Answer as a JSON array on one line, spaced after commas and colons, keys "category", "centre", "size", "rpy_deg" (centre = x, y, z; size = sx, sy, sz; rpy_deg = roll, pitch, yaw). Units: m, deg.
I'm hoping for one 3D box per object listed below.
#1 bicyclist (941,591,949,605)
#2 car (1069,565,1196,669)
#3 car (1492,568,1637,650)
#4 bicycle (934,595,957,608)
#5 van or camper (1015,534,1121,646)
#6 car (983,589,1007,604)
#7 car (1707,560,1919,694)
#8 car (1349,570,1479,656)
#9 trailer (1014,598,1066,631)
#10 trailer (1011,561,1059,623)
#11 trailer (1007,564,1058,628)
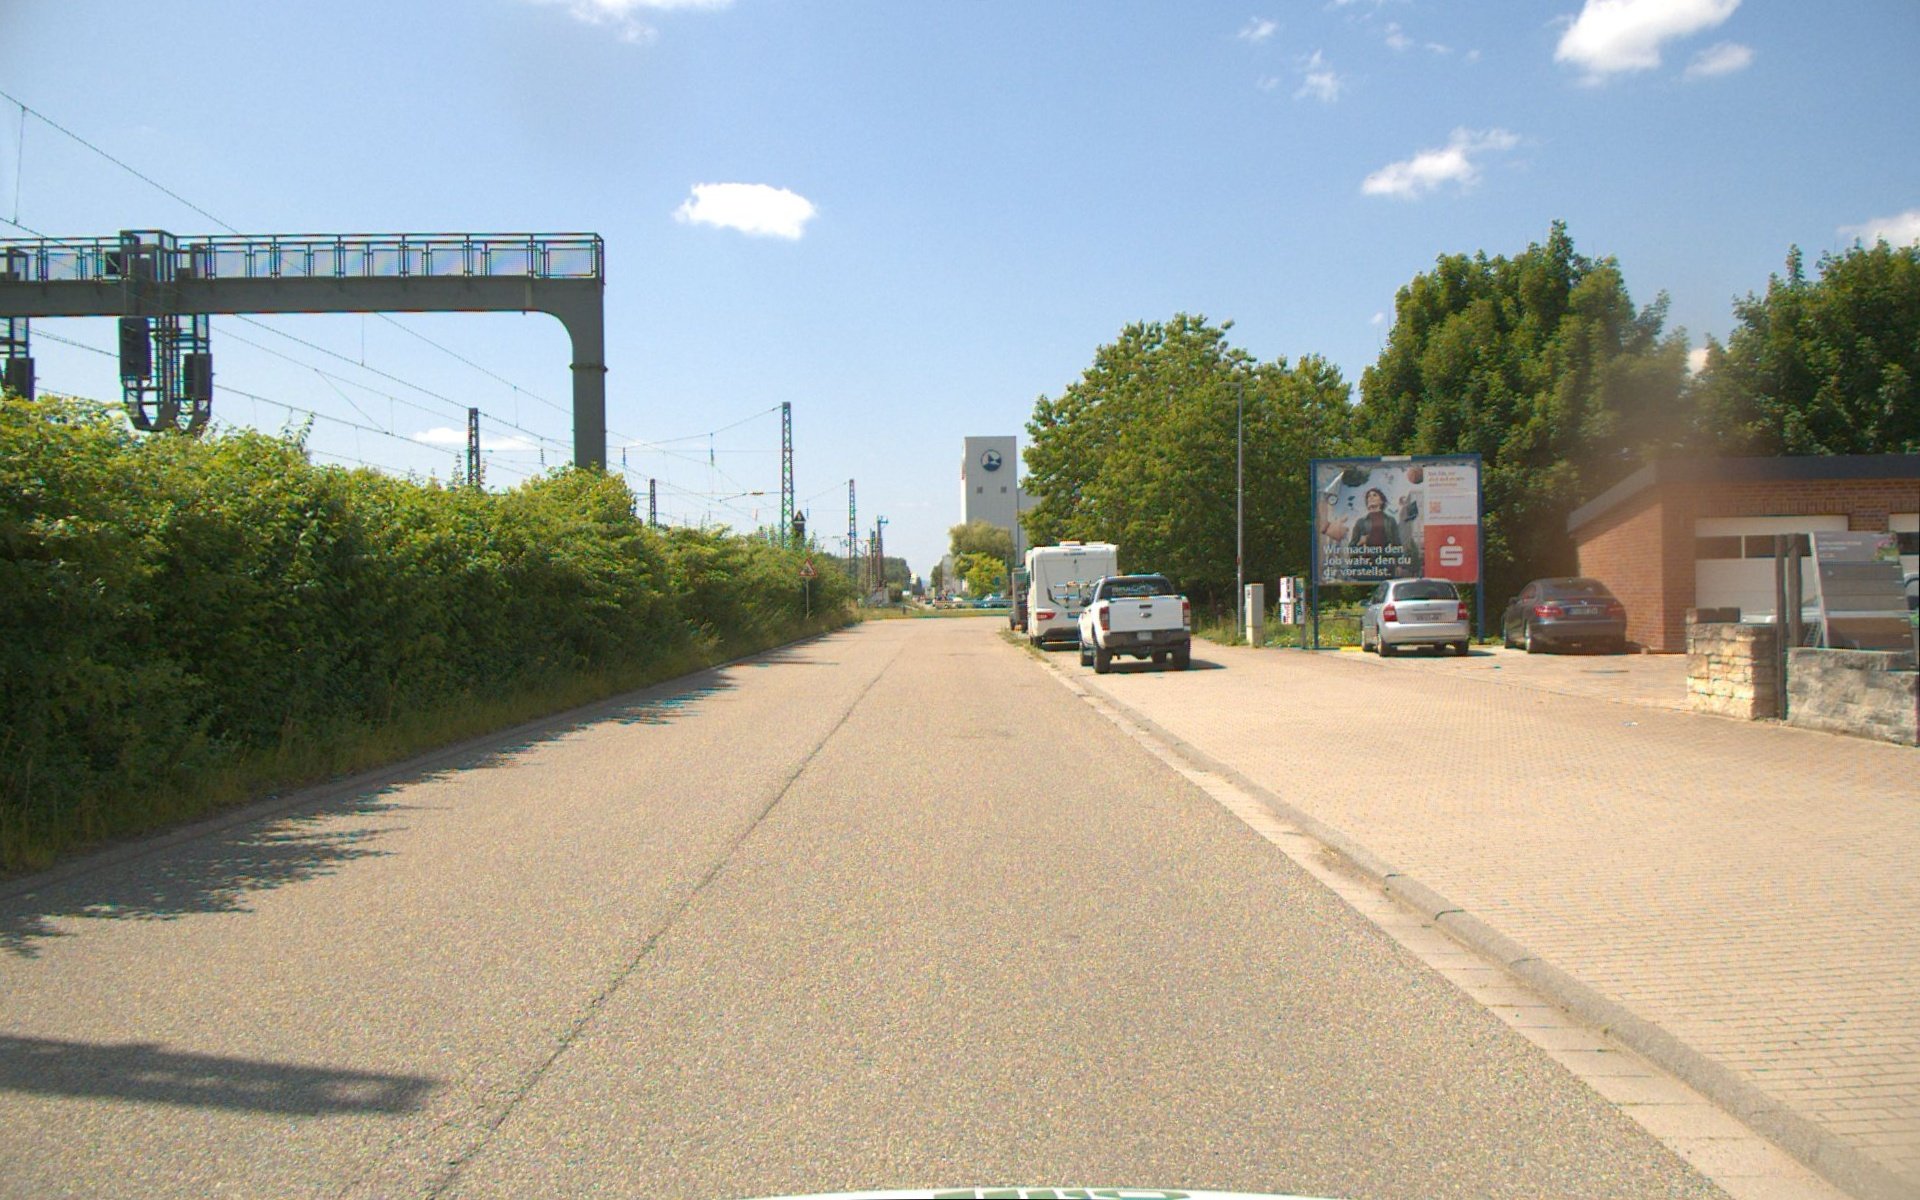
[{"category": "bicyclist", "centre": [-1.357, -0.165, 150.491], "size": [0.501, 1.277, 0.468], "rpy_deg": [-1, 0, 34]}, {"category": "car", "centre": [3.374, 0.299, 33.315], "size": [1.810, 1.846, 5.423], "rpy_deg": [-2, 0, -1]}, {"category": "car", "centre": [11.629, 0.156, 32.059], "size": [1.709, 1.400, 4.003], "rpy_deg": [-3, 0, 7]}, {"category": "bicycle", "centre": [-1.329, 0.126, 150.484], "size": [2.102, 1.185, 0.659], "rpy_deg": [0, 0, 35]}, {"category": "van or camper", "centre": [3.006, -0.284, 47.797], "size": [2.389, 2.876, 7.622], "rpy_deg": [-2, 0, -1]}, {"category": "car", "centre": [3.586, -0.368, 169.813], "size": [1.955, 1.536, 4.448], "rpy_deg": [-1, 0, -6]}, {"category": "car", "centre": [11.149, 0.269, 19.127], "size": [4.176, 1.445, 1.978], "rpy_deg": [-1, 0, 9]}, {"category": "car", "centre": [8.941, 0.232, 32.856], "size": [1.865, 1.505, 4.003], "rpy_deg": [-3, 0, 7]}, {"category": "trailer", "centre": [3.206, 0.573, 66.456], "size": [1.963, 1.142, 4.490], "rpy_deg": [-4, 0, 2]}, {"category": "trailer", "centre": [3.532, -0.390, 77.080], "size": [1.892, 2.690, 5.187], "rpy_deg": [-3, 0, 5]}, {"category": "trailer", "centre": [3.123, -0.178, 71.959], "size": [1.880, 2.552, 4.740], "rpy_deg": [-3, 0, 0]}]
